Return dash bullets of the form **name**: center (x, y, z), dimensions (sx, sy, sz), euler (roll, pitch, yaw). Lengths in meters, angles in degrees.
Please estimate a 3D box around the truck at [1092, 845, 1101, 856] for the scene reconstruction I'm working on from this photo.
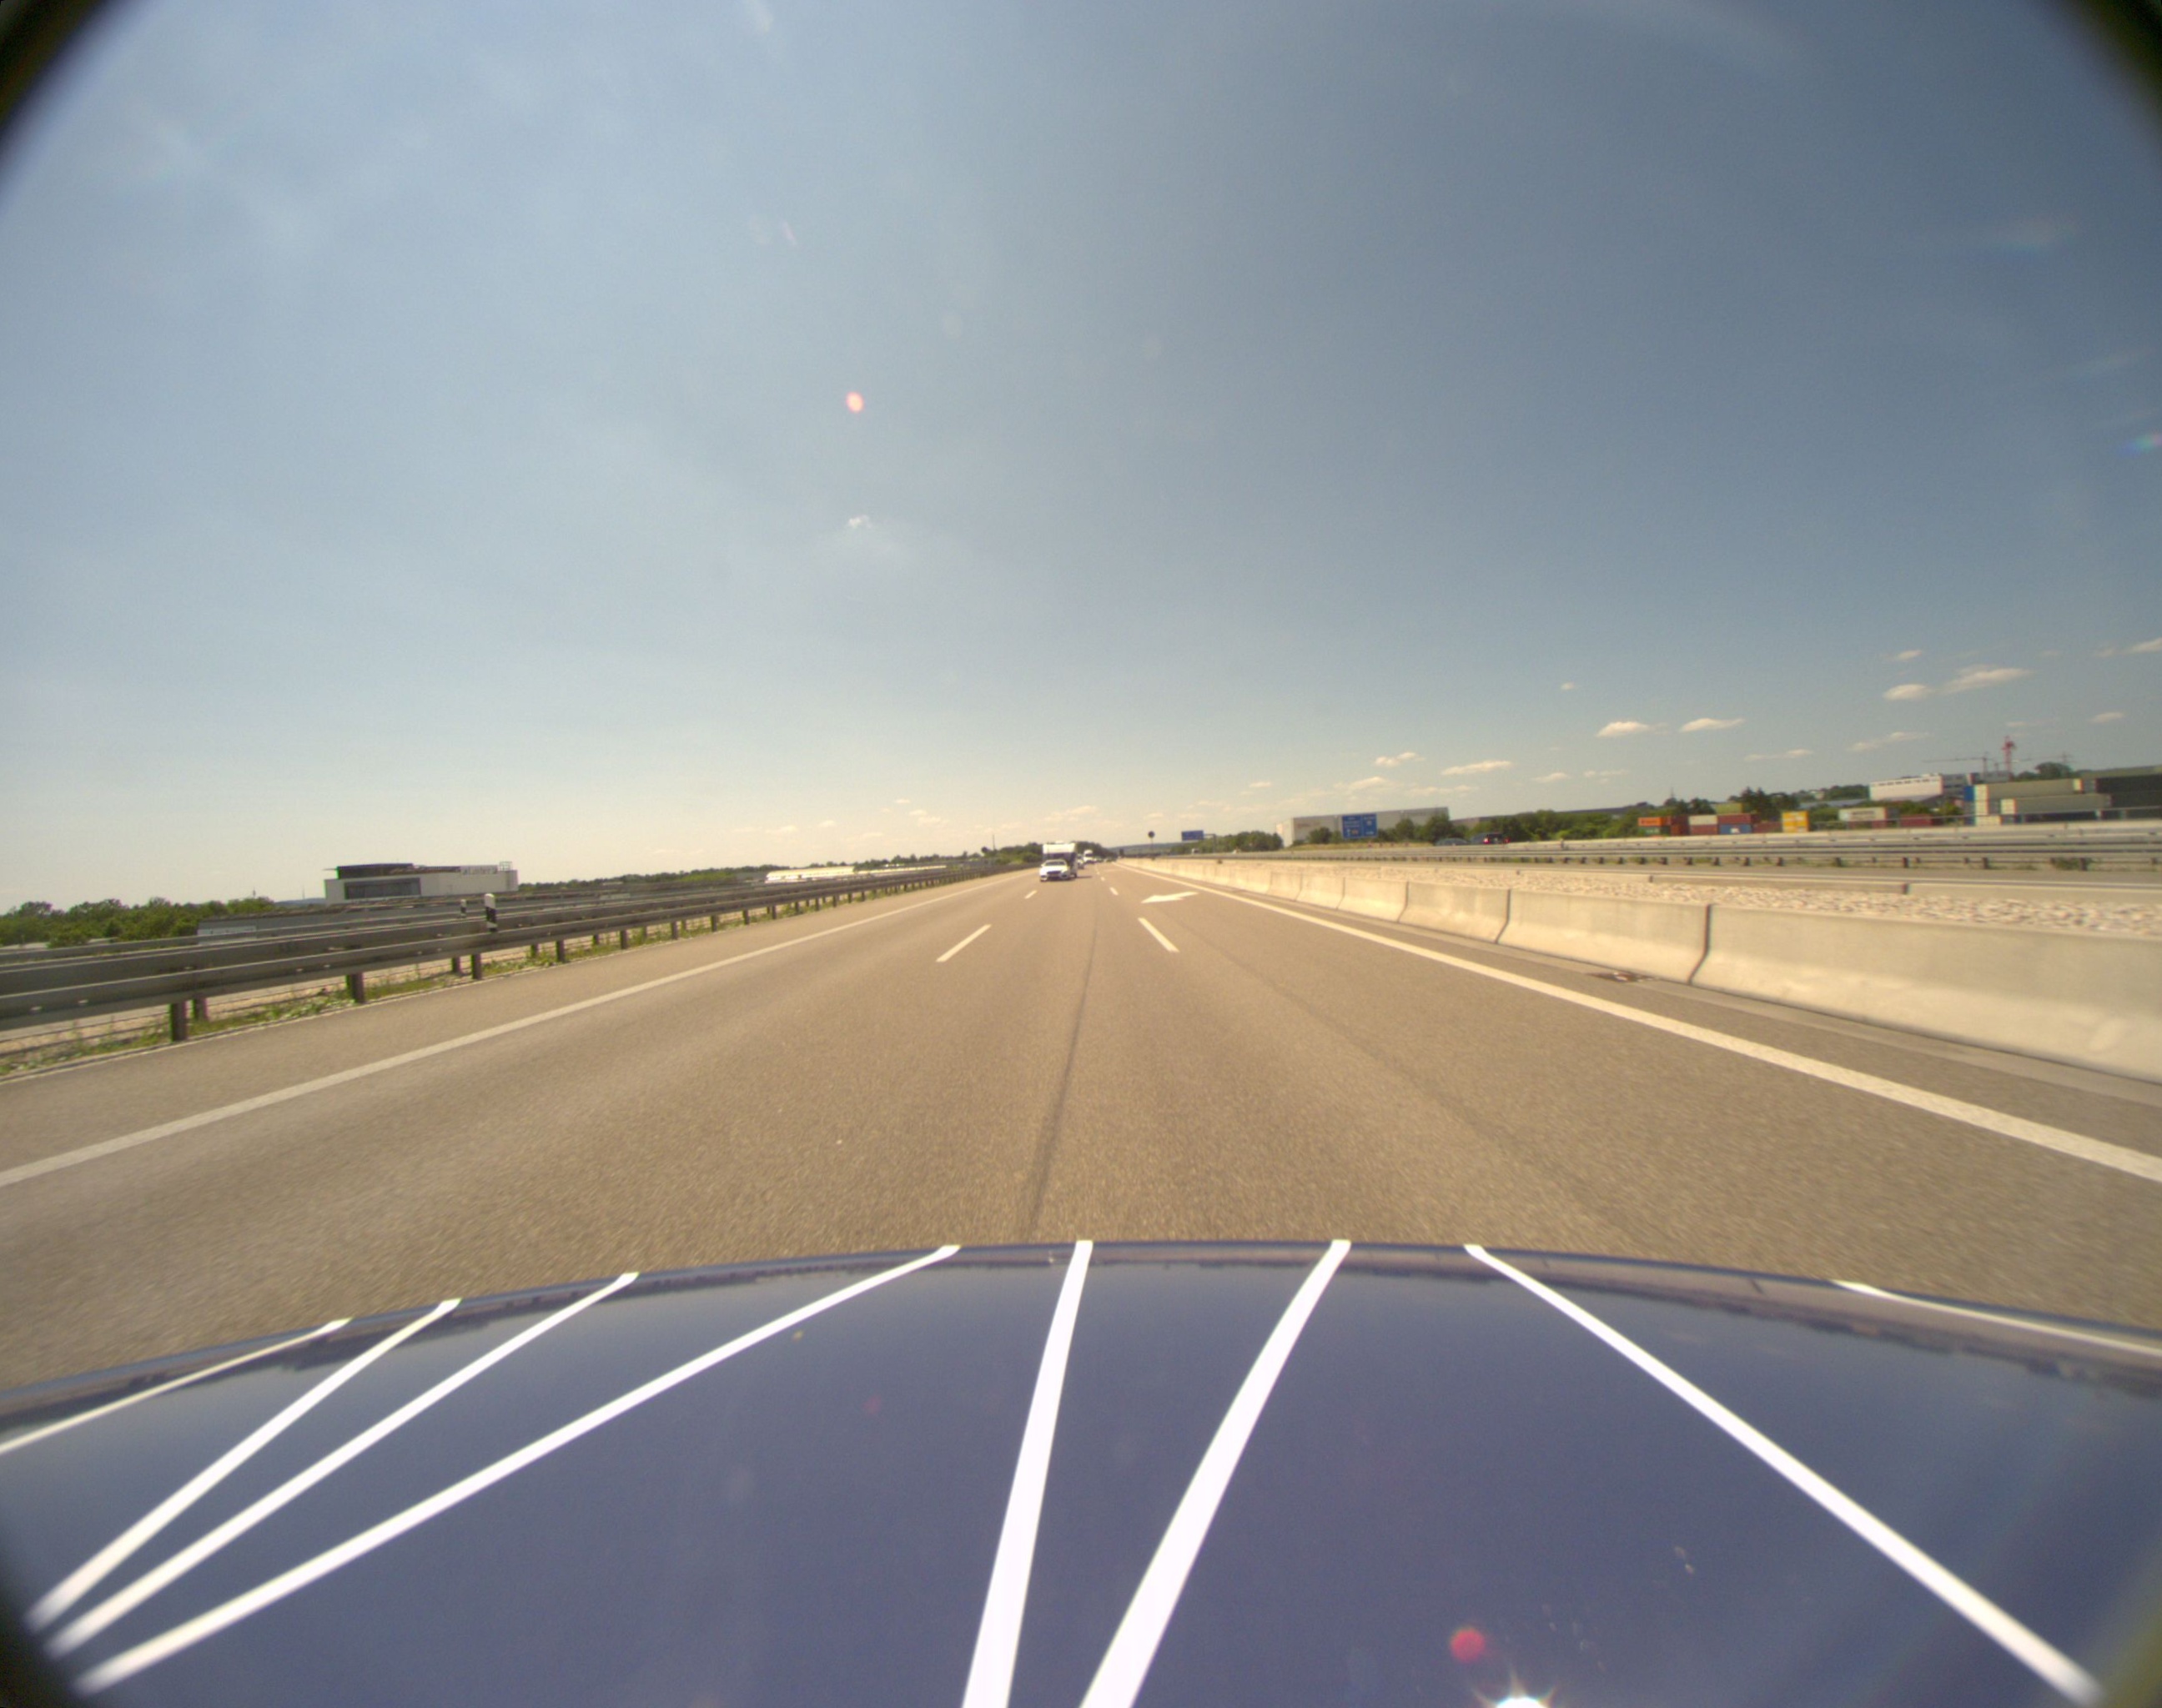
- **truck**: center (3.984, -0.860, 192.603), dimensions (2.168, 2.797, 6.490), euler (-3, 0, 2)

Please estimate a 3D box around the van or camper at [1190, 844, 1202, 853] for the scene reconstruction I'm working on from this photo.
- **van or camper**: center (35.271, -1.687, 233.519), dimensions (2.552, 2.805, 7.542), euler (-2, 0, 1)

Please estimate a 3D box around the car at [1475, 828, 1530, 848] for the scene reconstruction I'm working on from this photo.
- **car**: center (32.440, -1.192, 58.642), dimensions (1.998, 1.371, 4.363), euler (-2, 0, 3)

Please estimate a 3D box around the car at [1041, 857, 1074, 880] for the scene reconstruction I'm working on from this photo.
- **car**: center (-1.491, 0.907, 49.750), dimensions (1.872, 1.352, 3.673), euler (-1, 0, 2)

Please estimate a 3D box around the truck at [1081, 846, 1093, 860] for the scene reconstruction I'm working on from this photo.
- **truck**: center (1.224, -0.179, 153.501), dimensions (2.168, 2.797, 6.489), euler (-3, 0, 0)

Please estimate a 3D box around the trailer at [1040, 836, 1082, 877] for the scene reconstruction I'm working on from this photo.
- **trailer**: center (-1.337, 0.173, 55.115), dimensions (2.500, 2.686, 7.155), euler (-2, 0, 2)

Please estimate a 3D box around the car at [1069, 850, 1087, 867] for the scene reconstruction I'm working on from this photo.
- **car**: center (-0.362, 0.567, 93.932), dimensions (1.998, 2.002, 3.999), euler (-3, 1, 0)
